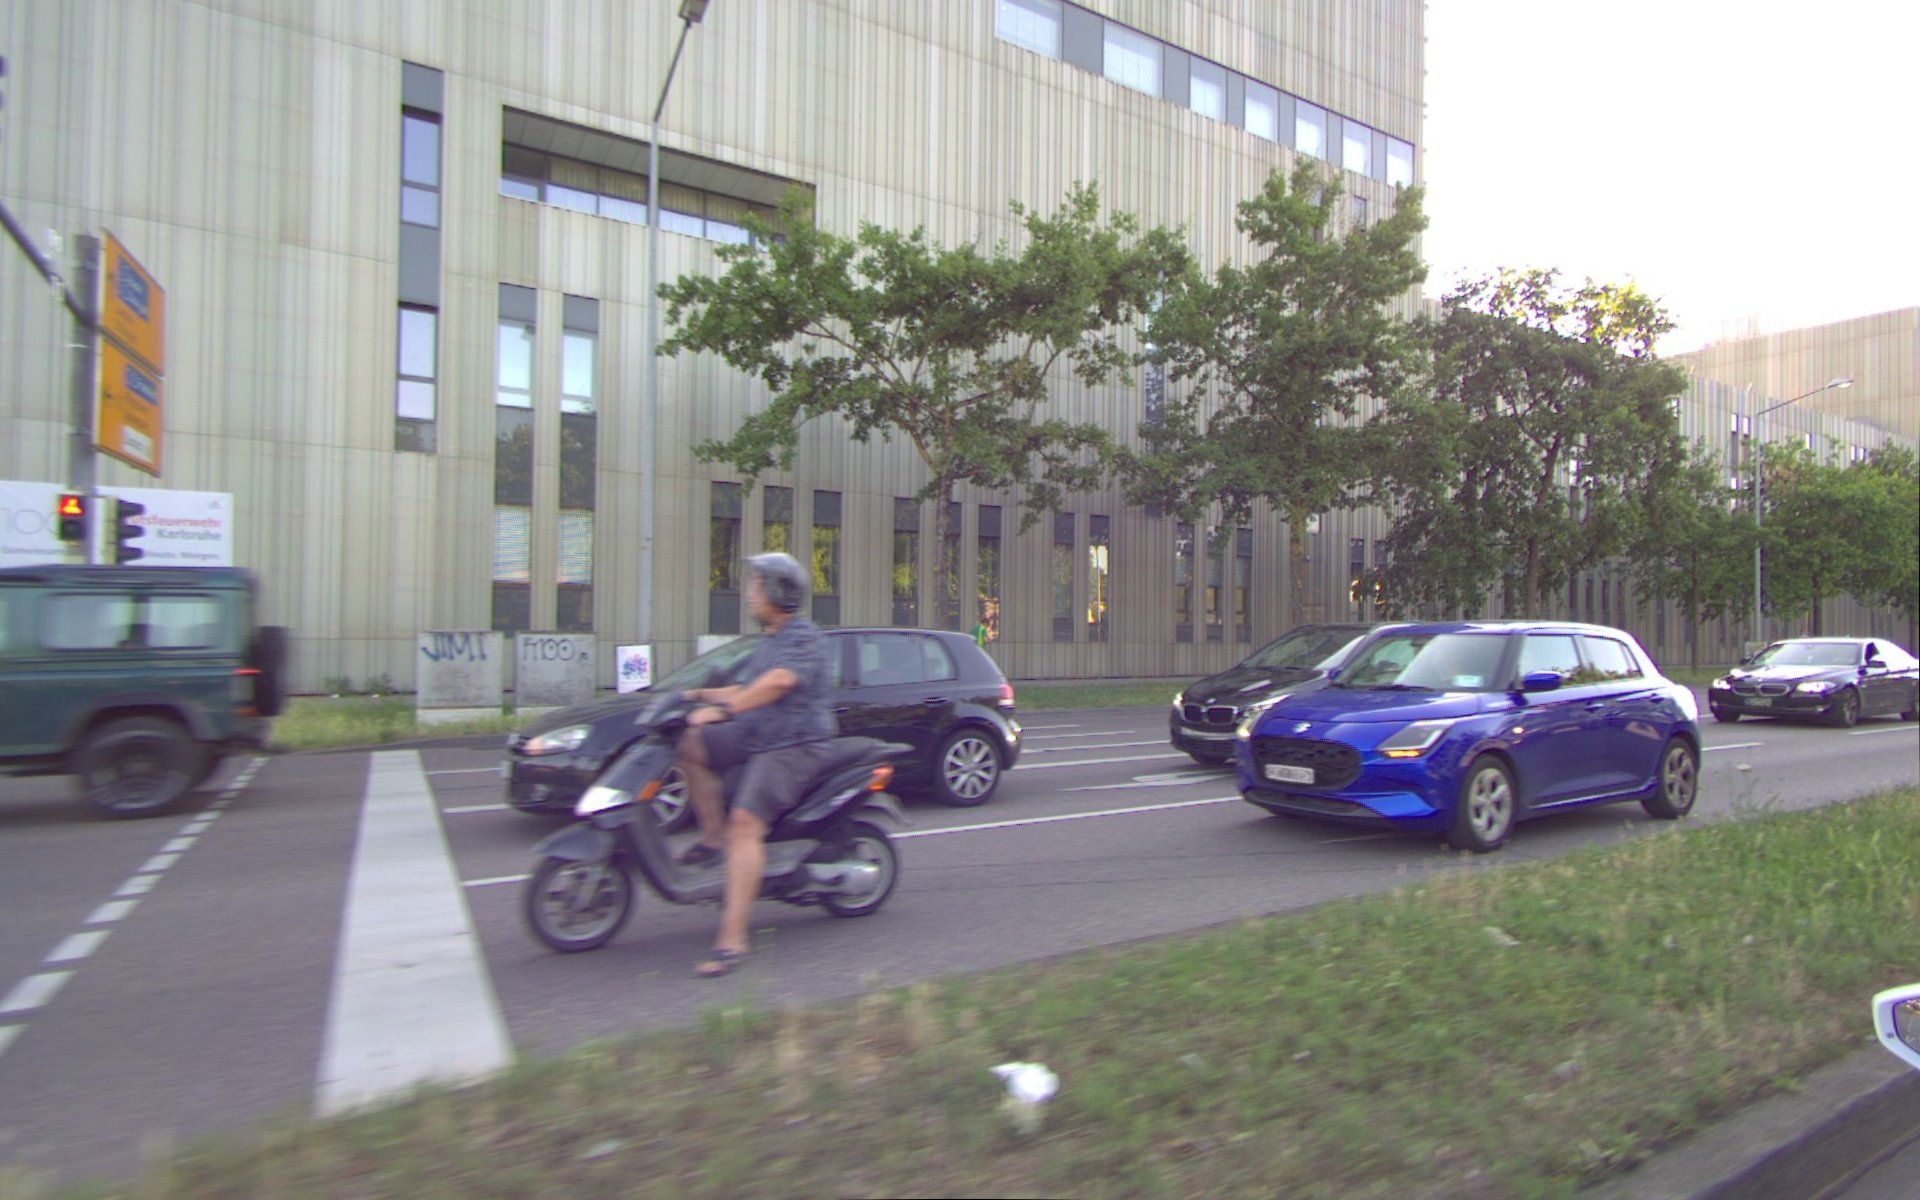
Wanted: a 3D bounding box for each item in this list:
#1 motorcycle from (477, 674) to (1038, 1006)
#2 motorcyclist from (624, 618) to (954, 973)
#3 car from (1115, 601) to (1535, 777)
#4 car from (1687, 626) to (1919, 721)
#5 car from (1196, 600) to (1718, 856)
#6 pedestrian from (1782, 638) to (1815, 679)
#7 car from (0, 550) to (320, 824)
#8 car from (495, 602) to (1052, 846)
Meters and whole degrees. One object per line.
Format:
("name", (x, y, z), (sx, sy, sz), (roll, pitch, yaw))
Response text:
("motorcycle", (-0.814, 0.913, 4.568), (2.379, 1.090, 0.834), (2, -4, -37))
("motorcyclist", (-0.775, 0.779, 4.604), (1.263, 1.367, 0.791), (0, -2, -37))
("car", (4.183, 0.989, 11.316), (4.663, 1.612, 1.984), (3, -5, -32))
("car", (15.039, 1.317, 17.634), (4.745, 1.470, 1.984), (3, -6, -32))
("car", (3.781, 0.880, 7.536), (3.814, 1.470, 1.694), (3, -6, -31))
("pedestrian", (43.692, 3.034, 52.350), (0.950, 2.040, 1.014), (3, 0, -30))
("car", (-7.527, 0.693, 8.070), (3.949, 2.004, 1.786), (1, -4, -32))
("car", (-1.471, 0.870, 8.244), (4.035, 1.495, 1.983), (3, 0, -32))
